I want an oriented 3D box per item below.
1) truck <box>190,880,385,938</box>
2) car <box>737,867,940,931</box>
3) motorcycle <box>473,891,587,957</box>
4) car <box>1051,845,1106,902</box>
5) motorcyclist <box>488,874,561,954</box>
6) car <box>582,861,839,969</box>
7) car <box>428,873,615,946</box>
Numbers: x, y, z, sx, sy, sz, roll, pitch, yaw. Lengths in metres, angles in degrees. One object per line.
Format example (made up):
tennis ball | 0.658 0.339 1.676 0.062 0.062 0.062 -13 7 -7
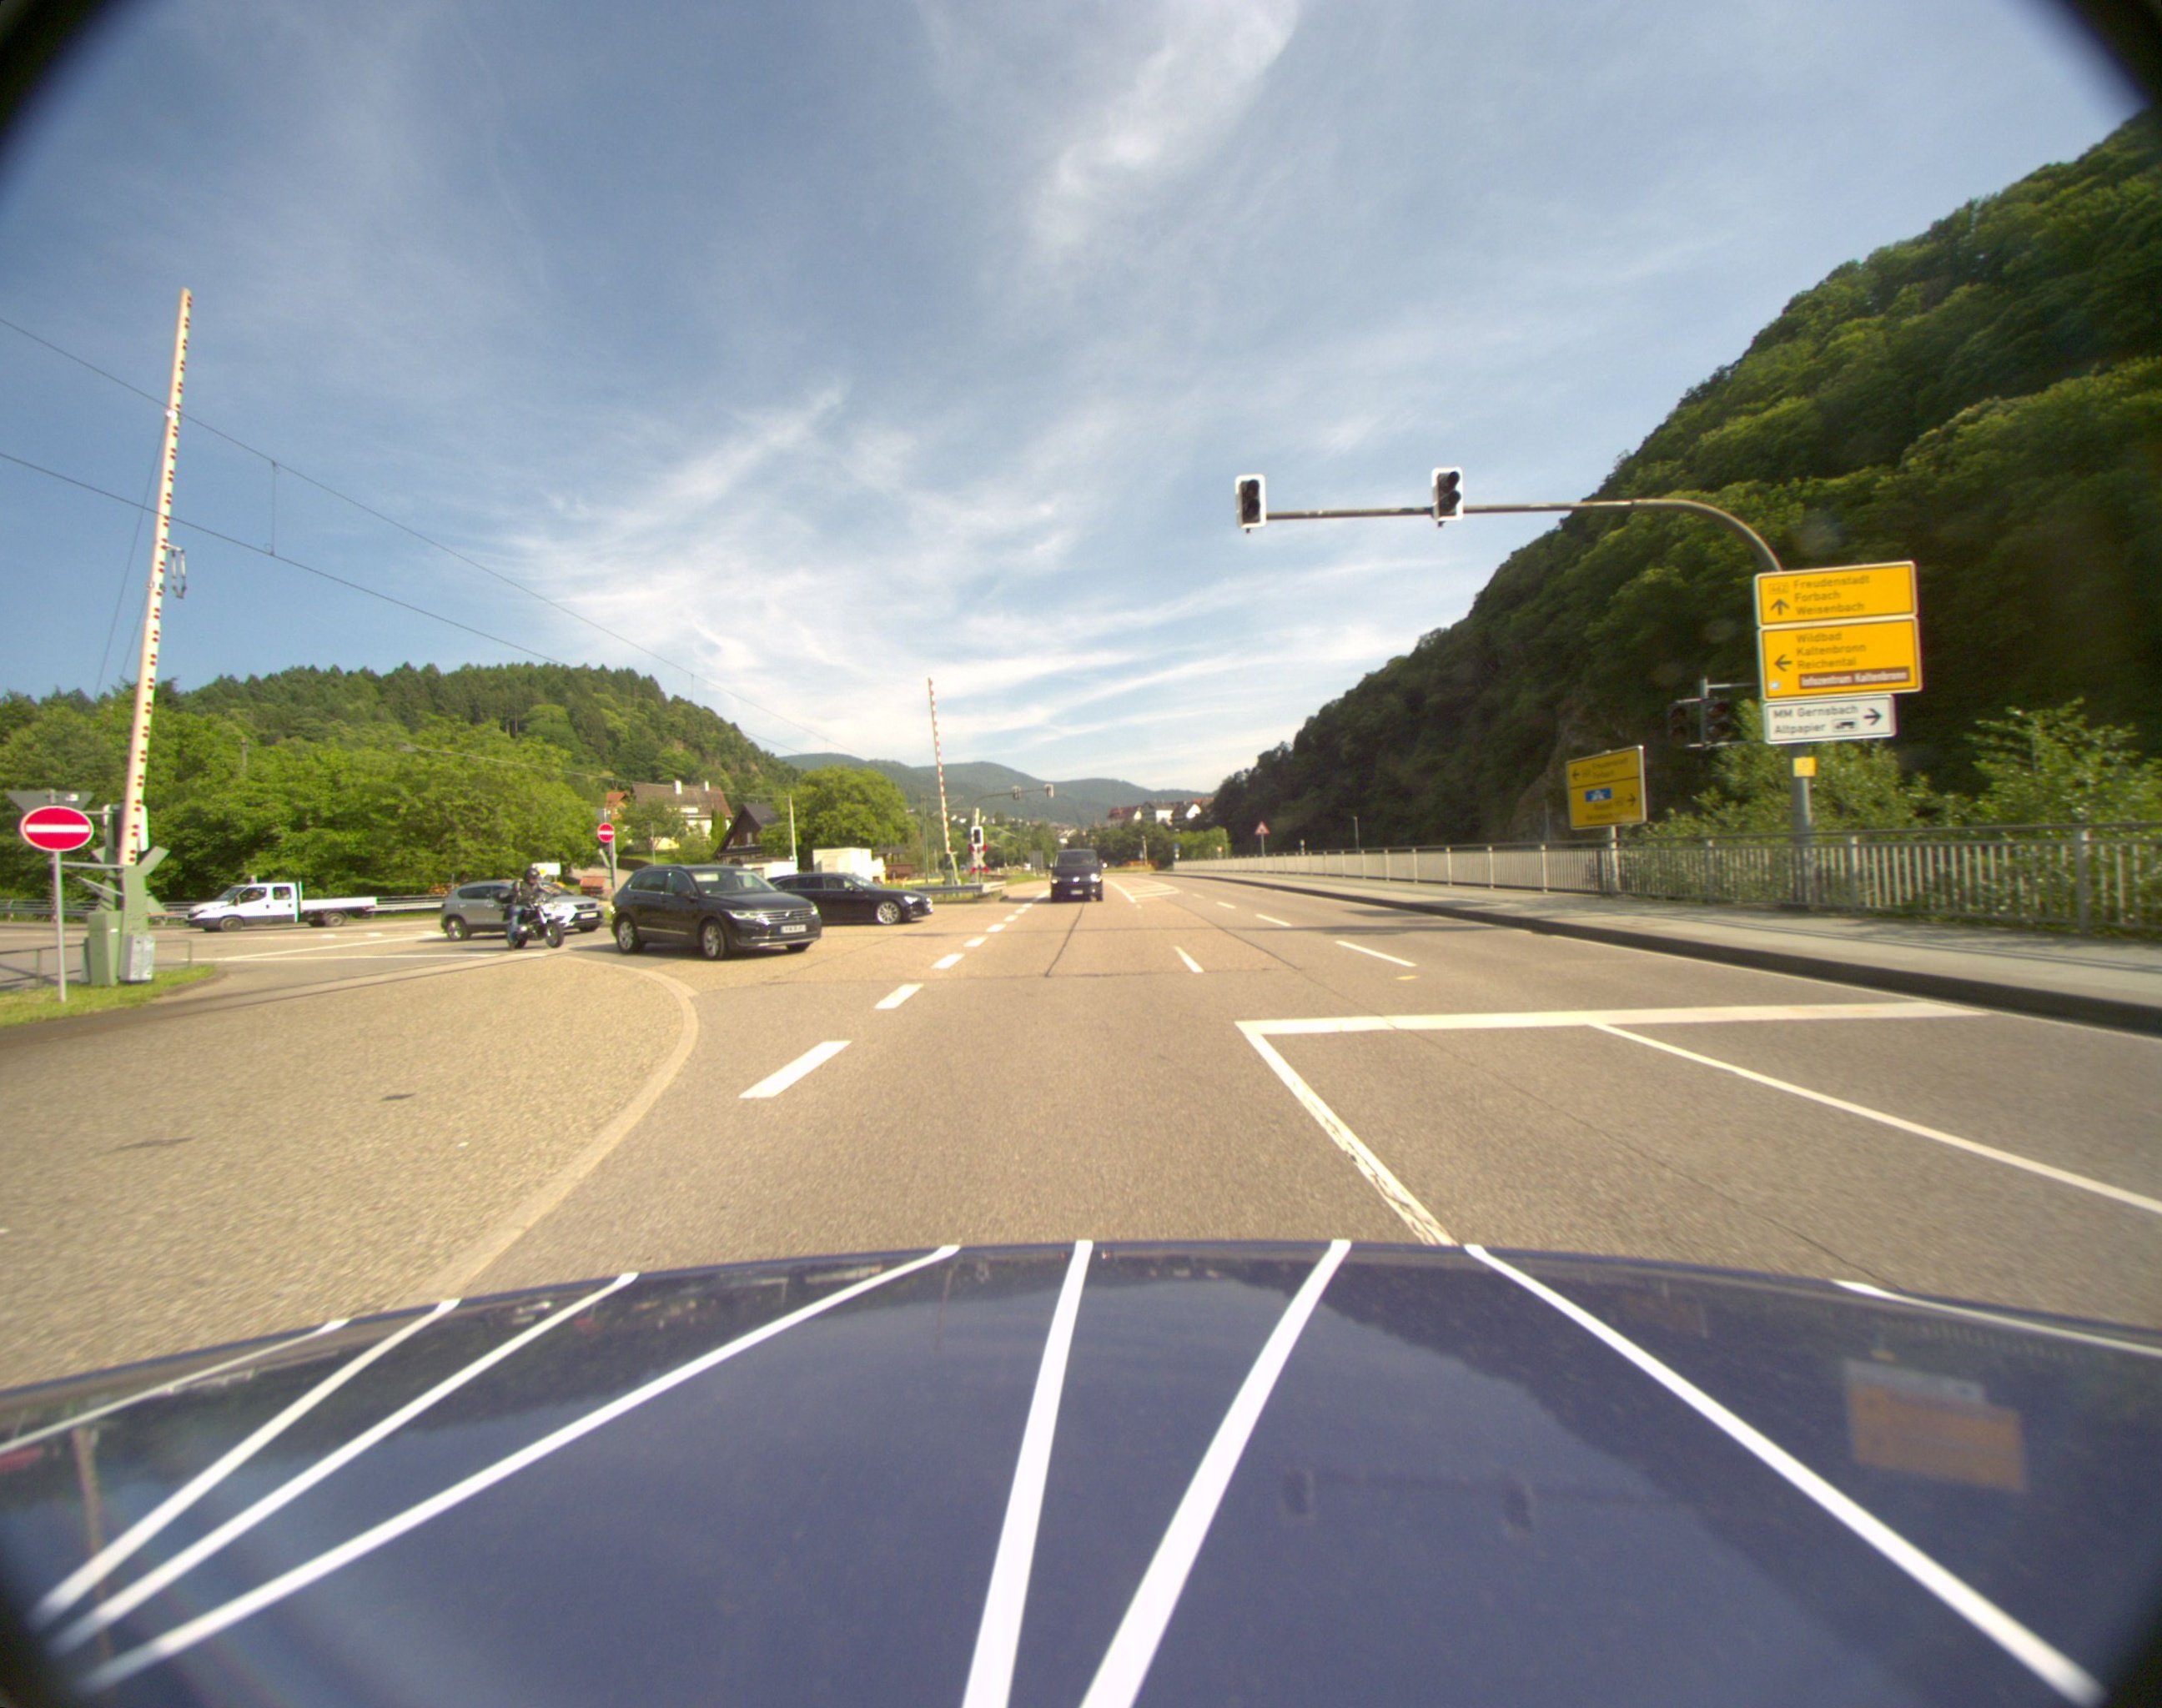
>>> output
truck | -37.666 2.506 36.336 2.401 2.220 5.947 -1 1 27
car | -6.312 1.162 20.123 4.737 1.461 1.842 -2 0 3
motorcycle | -11.576 1.468 15.977 2.096 1.247 0.800 -4 0 18
car | -0.146 0.725 29.030 1.865 1.936 4.638 -2 -1 -2
motorcyclist | -11.718 1.243 16.020 0.908 1.587 0.766 -4 0 17
car | -6.862 1.038 13.936 4.729 1.650 1.934 -2 0 31
car | -15.352 1.508 20.923 4.119 1.676 1.837 -4 0 13
